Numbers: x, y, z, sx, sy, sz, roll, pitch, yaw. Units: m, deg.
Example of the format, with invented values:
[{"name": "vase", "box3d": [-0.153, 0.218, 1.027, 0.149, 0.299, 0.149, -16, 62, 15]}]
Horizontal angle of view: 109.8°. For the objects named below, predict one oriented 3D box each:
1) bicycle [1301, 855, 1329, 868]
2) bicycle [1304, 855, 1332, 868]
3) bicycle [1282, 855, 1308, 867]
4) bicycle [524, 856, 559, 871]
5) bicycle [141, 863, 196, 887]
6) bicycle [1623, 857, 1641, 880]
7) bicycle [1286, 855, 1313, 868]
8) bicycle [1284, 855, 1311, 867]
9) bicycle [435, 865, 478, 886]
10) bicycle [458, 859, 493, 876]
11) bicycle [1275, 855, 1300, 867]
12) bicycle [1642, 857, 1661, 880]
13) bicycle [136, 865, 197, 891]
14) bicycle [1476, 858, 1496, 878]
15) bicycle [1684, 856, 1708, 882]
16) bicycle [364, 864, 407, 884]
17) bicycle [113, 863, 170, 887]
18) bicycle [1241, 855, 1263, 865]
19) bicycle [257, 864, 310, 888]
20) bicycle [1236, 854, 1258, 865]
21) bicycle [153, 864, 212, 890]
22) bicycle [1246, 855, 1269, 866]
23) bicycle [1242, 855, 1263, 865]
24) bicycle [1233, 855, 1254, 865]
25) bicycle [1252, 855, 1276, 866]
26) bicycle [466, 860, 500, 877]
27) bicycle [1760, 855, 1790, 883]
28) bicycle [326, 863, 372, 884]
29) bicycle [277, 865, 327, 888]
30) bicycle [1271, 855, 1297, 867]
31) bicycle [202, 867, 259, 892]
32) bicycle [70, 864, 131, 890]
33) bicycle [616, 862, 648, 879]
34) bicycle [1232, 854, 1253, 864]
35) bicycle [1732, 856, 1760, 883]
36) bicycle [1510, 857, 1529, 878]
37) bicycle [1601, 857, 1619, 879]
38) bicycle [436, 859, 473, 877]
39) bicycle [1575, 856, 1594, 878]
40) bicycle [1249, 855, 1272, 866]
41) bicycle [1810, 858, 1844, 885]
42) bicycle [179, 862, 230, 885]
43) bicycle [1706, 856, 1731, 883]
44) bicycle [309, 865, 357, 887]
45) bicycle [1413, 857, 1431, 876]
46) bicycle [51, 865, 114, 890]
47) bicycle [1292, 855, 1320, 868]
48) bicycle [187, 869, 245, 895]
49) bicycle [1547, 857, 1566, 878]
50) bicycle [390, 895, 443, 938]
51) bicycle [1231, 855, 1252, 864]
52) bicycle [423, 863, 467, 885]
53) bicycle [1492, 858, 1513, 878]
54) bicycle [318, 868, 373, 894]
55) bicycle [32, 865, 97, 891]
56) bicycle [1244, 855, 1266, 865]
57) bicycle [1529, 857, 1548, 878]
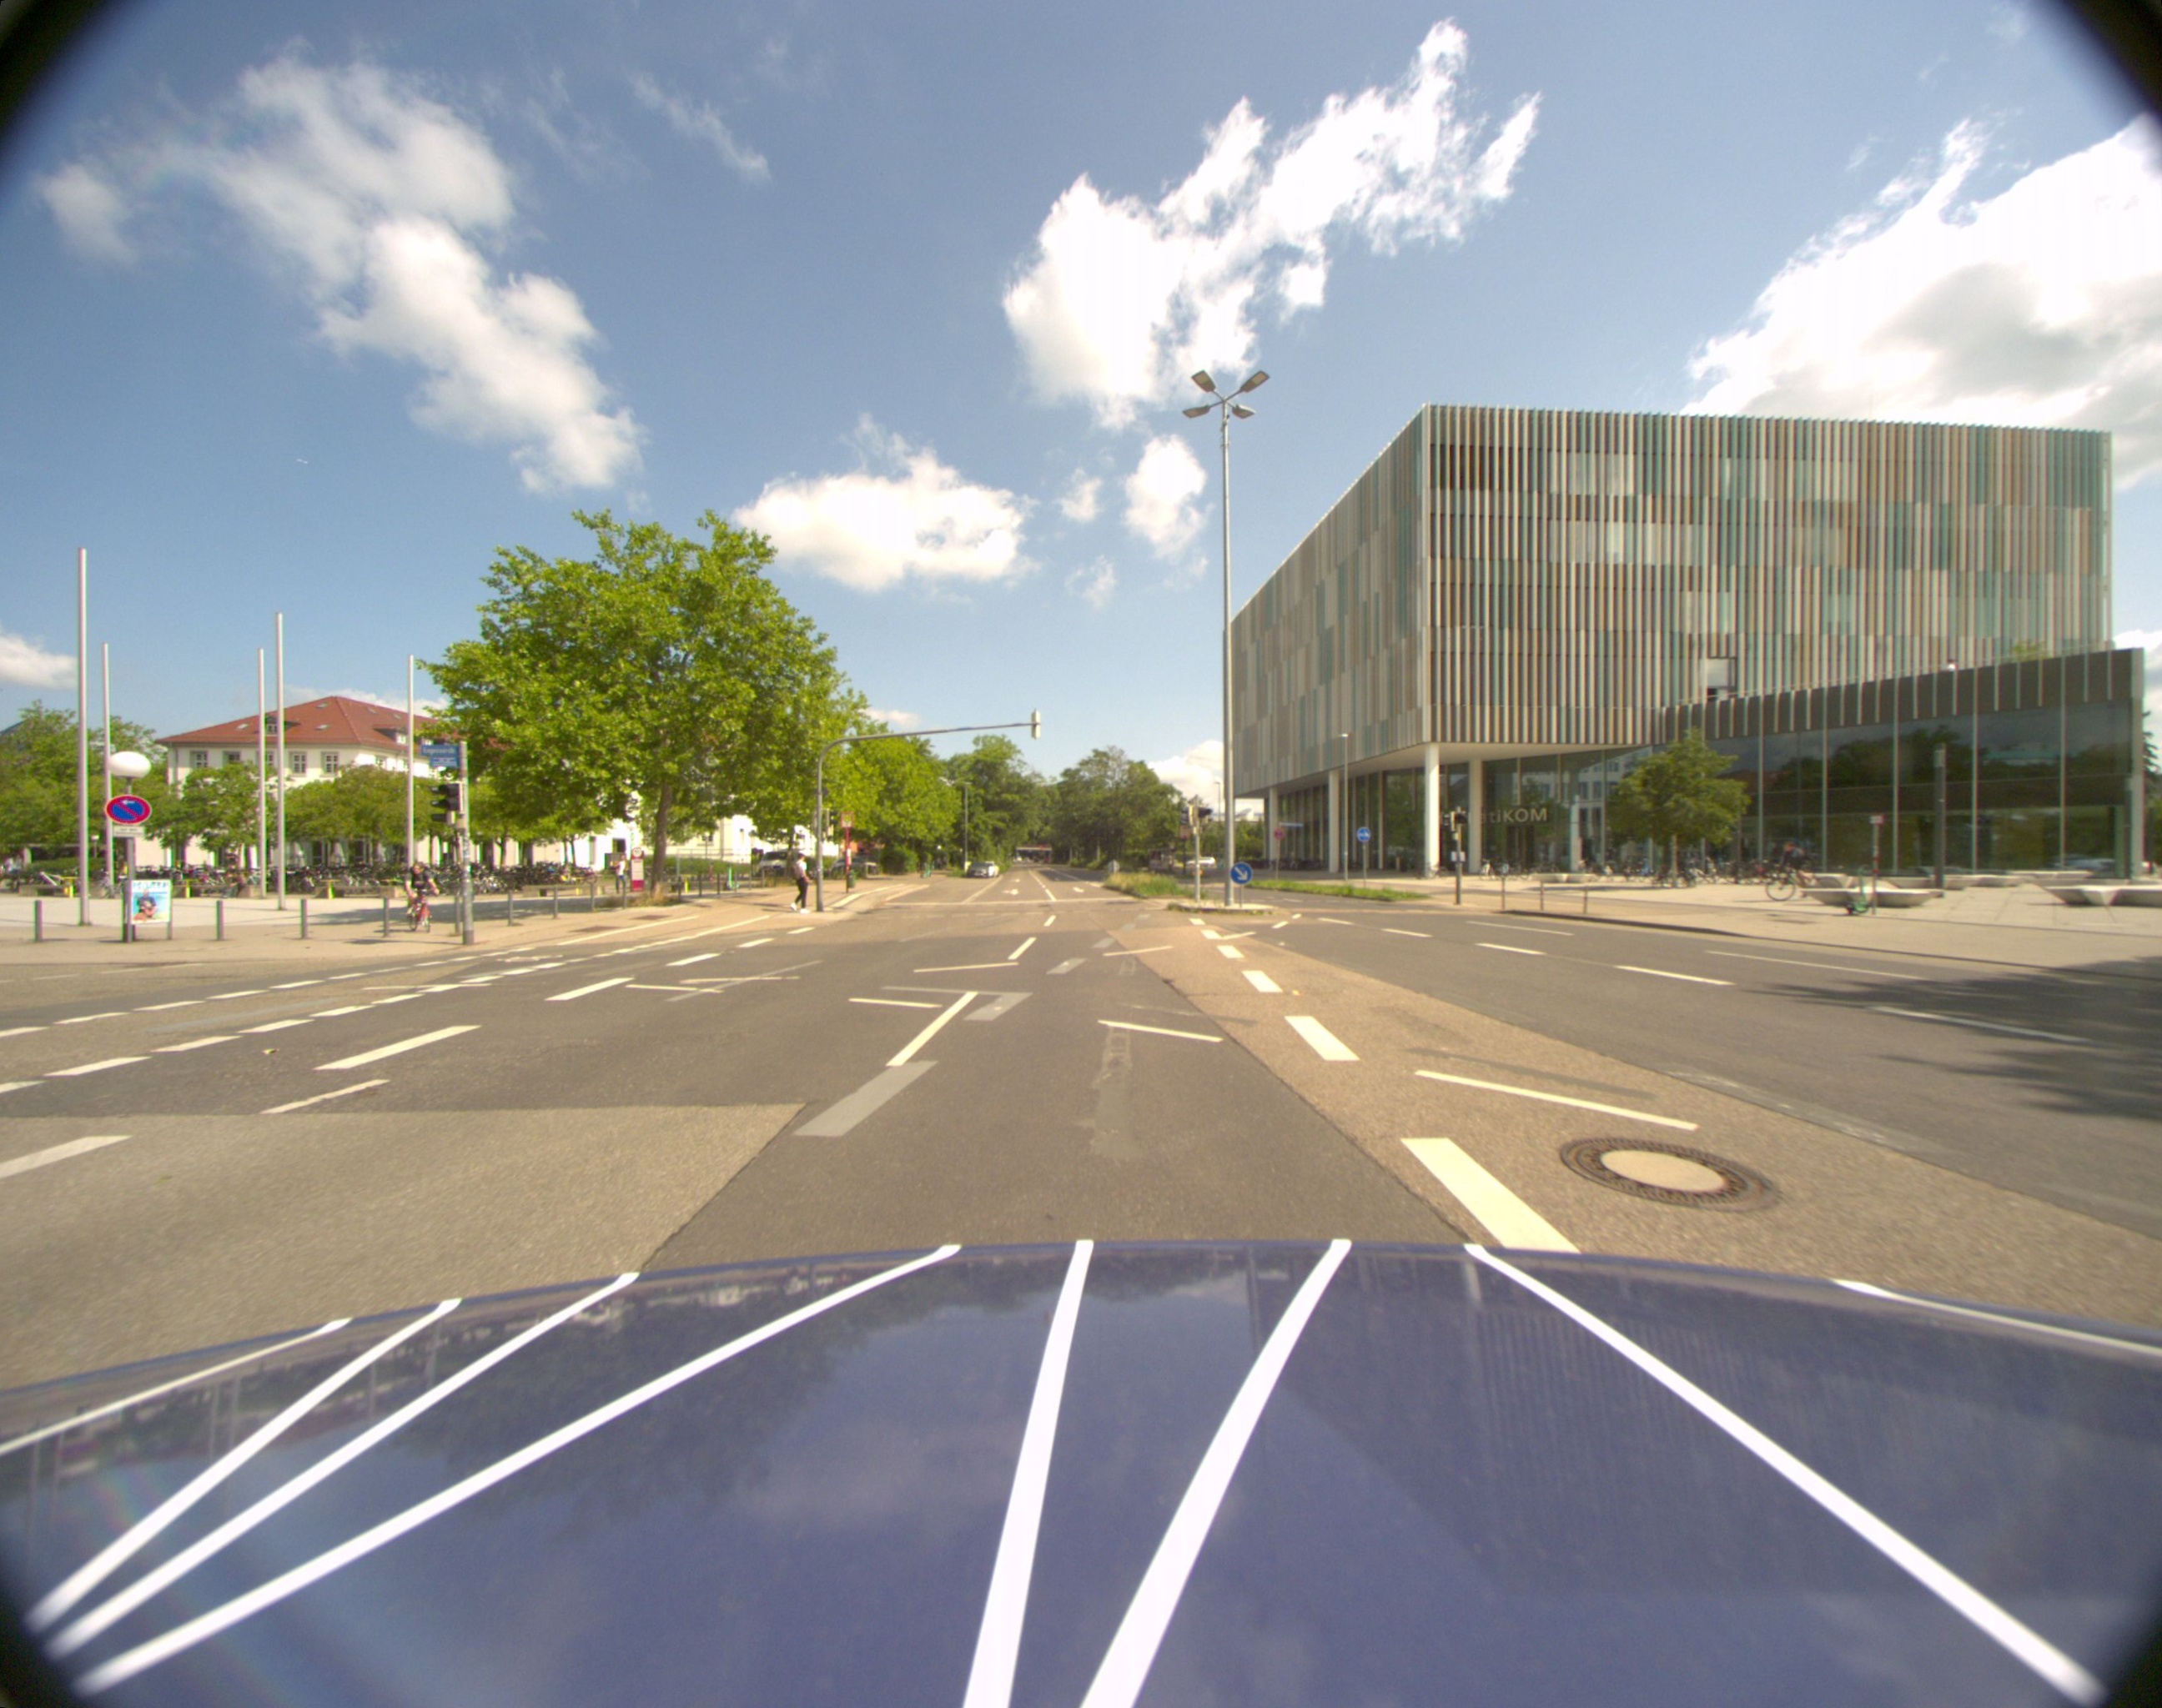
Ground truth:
[{"name": "bicycle", "box3d": [20.231, 0.675, 65.637, 2.218, 1.090, 0.755, 0, 0, -9]}, {"name": "bicycle", "box3d": [20.113, 0.646, 64.536, 2.218, 1.090, 0.722, 0, 0, -9]}, {"name": "bicycle", "box3d": [19.715, 0.618, 69.944, 2.218, 1.090, 0.722, 0, 0, -9]}, {"name": "bicycle", "box3d": [-33.378, 0.611, 47.020, 1.673, 0.916, 0.472, 0, 1, -9]}, {"name": "bicycle", "box3d": [-44.269, 1.010, 36.869, 1.673, 1.090, 0.626, 0, 1, -9]}, {"name": "bicycle", "box3d": [27.649, 0.708, 38.151, 0.720, 1.090, 2.223, 0, 0, 36]}, {"name": "bicycle", "box3d": [19.618, 0.662, 68.147, 2.218, 1.090, 0.735, 0, 0, -9]}, {"name": "bicycle", "box3d": [19.678, 0.649, 69.129, 2.218, 1.090, 0.722, 0, 0, -9]}, {"name": "bicycle", "box3d": [-33.126, 1.130, 40.341, 1.673, 1.090, 0.626, 0, 1, -9]}, {"name": "bicycle", "box3d": [-39.231, 0.887, 49.264, 1.673, 1.090, 0.626, 0, 1, -9]}, {"name": "bicycle", "box3d": [19.314, 0.609, 71.033, 2.218, 1.090, 0.722, 0, 0, -9]}, {"name": "bicycle", "box3d": [28.295, 0.690, 37.721, 0.720, 1.090, 2.223, 0, 0, 36]}, {"name": "bicycle", "box3d": [-39.674, 1.029, 32.980, 1.673, 1.090, 0.626, 0, 1, -9]}, {"name": "bicycle", "box3d": [22.914, 0.786, 42.992, 0.720, 1.090, 2.223, 0, 0, 36]}, {"name": "bicycle", "box3d": [29.108, 0.701, 35.985, 0.745, 1.183, 2.323, 0, 0, 36]}, {"name": "bicycle", "box3d": [-39.032, 1.107, 42.664, 1.673, 1.090, 0.626, 0, 1, -9]}, {"name": "bicycle", "box3d": [-44.153, 0.995, 35.718, 1.673, 1.090, 0.626, 0, 1, -9]}, {"name": "bicycle", "box3d": [18.337, 0.656, 81.525, 2.218, 1.090, 0.722, 0, 0, -9]}, {"name": "bicycle", "box3d": [-38.068, 1.031, 36.288, 1.673, 1.090, 0.626, 0, 1, -9]}, {"name": "bicycle", "box3d": [18.238, 0.608, 83.299, 2.218, 1.090, 0.722, 0, 0, -9]}, {"name": "bicycle", "box3d": [-39.818, 1.009, 33.687, 1.673, 1.090, 0.626, 0, 1, -9]}, {"name": "bicycle", "box3d": [18.580, 0.679, 79.969, 2.218, 1.090, 0.722, 0, 0, -9]}, {"name": "bicycle", "box3d": [18.638, 0.632, 82.582, 2.218, 1.090, 0.722, 0, 0, -9]}, {"name": "bicycle", "box3d": [18.085, 0.620, 84.543, 2.218, 1.090, 0.722, 0, 0, -9]}, {"name": "bicycle", "box3d": [18.677, 0.693, 77.481, 2.218, 1.090, 0.722, 0, 0, -9]}, {"name": "bicycle", "box3d": [-39.485, 0.931, 50.193, 1.673, 1.090, 0.626, 0, 1, -9]}, {"name": "bicycle", "box3d": [31.017, 0.661, 33.979, 0.745, 1.183, 2.323, 0, 0, 36]}, {"name": "bicycle", "box3d": [-38.216, 1.024, 39.698, 1.673, 1.090, 0.626, 0, 1, -9]}, {"name": "bicycle", "box3d": [-38.241, 1.088, 37.305, 1.673, 1.090, 0.626, 0, 1, -9]}, {"name": "bicycle", "box3d": [19.198, 0.628, 71.877, 2.218, 1.090, 0.722, 0, 0, -9]}, {"name": "bicycle", "box3d": [-38.049, 1.137, 34.015, 1.673, 1.090, 0.626, 0, 1, -9]}, {"name": "bicycle", "box3d": [-43.697, 1.025, 33.863, 1.673, 1.090, 0.626, 0, 1, -9]}, {"name": "bicycle", "box3d": [-29.519, 1.085, 49.943, 1.673, 1.090, 0.626, 0, 1, -9]}, {"name": "bicycle", "box3d": [18.449, 0.599, 86.633, 2.218, 1.090, 0.722, 0, 0, -9]}, {"name": "bicycle", "box3d": [30.178, 0.681, 34.517, 0.745, 1.183, 2.323, 0, 0, 36]}, {"name": "bicycle", "box3d": [24.266, 0.747, 42.025, 0.720, 1.090, 2.223, 0, 0, 36]}, {"name": "bicycle", "box3d": [26.892, 0.687, 38.621, 0.720, 1.090, 2.223, 0, 0, 36]}, {"name": "bicycle", "box3d": [-38.793, 0.872, 47.046, 1.673, 1.090, 0.626, 0, 1, -9]}, {"name": "bicycle", "box3d": [26.076, 0.678, 39.319, 0.720, 1.090, 2.223, 0, 0, 36]}, {"name": "bicycle", "box3d": [18.614, 0.687, 78.696, 2.218, 1.090, 0.722, 0, 0, -9]}, {"name": "bicycle", "box3d": [32.005, 0.745, 32.638, 0.720, 1.090, 2.223, 0, 0, 36]}, {"name": "bicycle", "box3d": [-44.708, 0.990, 38.780, 1.673, 1.090, 0.626, 0, 1, -9]}, {"name": "bicycle", "box3d": [29.664, 0.690, 35.365, 0.745, 1.183, 2.323, 0, 0, 36]}, {"name": "bicycle", "box3d": [-38.189, 1.132, 38.804, 1.673, 1.090, 0.626, 0, 1, -9]}, {"name": "bicycle", "box3d": [20.359, 0.736, 45.404, 0.547, 1.090, 1.635, 0, 0, 8]}, {"name": "bicycle", "box3d": [-43.616, 1.018, 33.193, 1.673, 1.090, 0.626, 0, 1, -9]}, {"name": "bicycle", "box3d": [19.685, 0.672, 66.432, 2.218, 1.090, 0.722, 0, 0, -9]}, {"name": "bicycle", "box3d": [-37.944, 1.211, 33.346, 1.673, 1.090, 0.626, 0, 1, -9]}, {"name": "bicycle", "box3d": [25.395, 0.717, 40.597, 0.720, 1.090, 2.223, 0, 0, 36]}, {"name": "bicycle", "box3d": [-14.839, 1.383, 16.962, 1.510, 0.828, 0.621, 0, 1, 39]}, {"name": "bicycle", "box3d": [17.998, 0.615, 85.315, 2.218, 1.090, 0.722, 0, 0, -9]}, {"name": "bicycle", "box3d": [-32.958, 1.030, 39.399, 1.673, 1.090, 0.626, 0, 1, -9]}, {"name": "bicycle", "box3d": [23.593, 0.770, 42.510, 0.720, 1.090, 2.223, 0, 0, 36]}, {"name": "bicycle", "box3d": [-32.339, 1.188, 33.440, 1.673, 1.090, 0.626, 0, 1, -9]}, {"name": "bicycle", "box3d": [-43.489, 1.017, 32.514, 1.673, 1.090, 0.626, 0, 1, -9]}, {"name": "bicycle", "box3d": [18.500, 0.663, 80.754, 2.218, 1.083, 0.722, 0, 0, -9]}, {"name": "bicycle", "box3d": [24.751, 0.736, 41.091, 0.720, 1.090, 2.223, 0, 0, 36]}]
